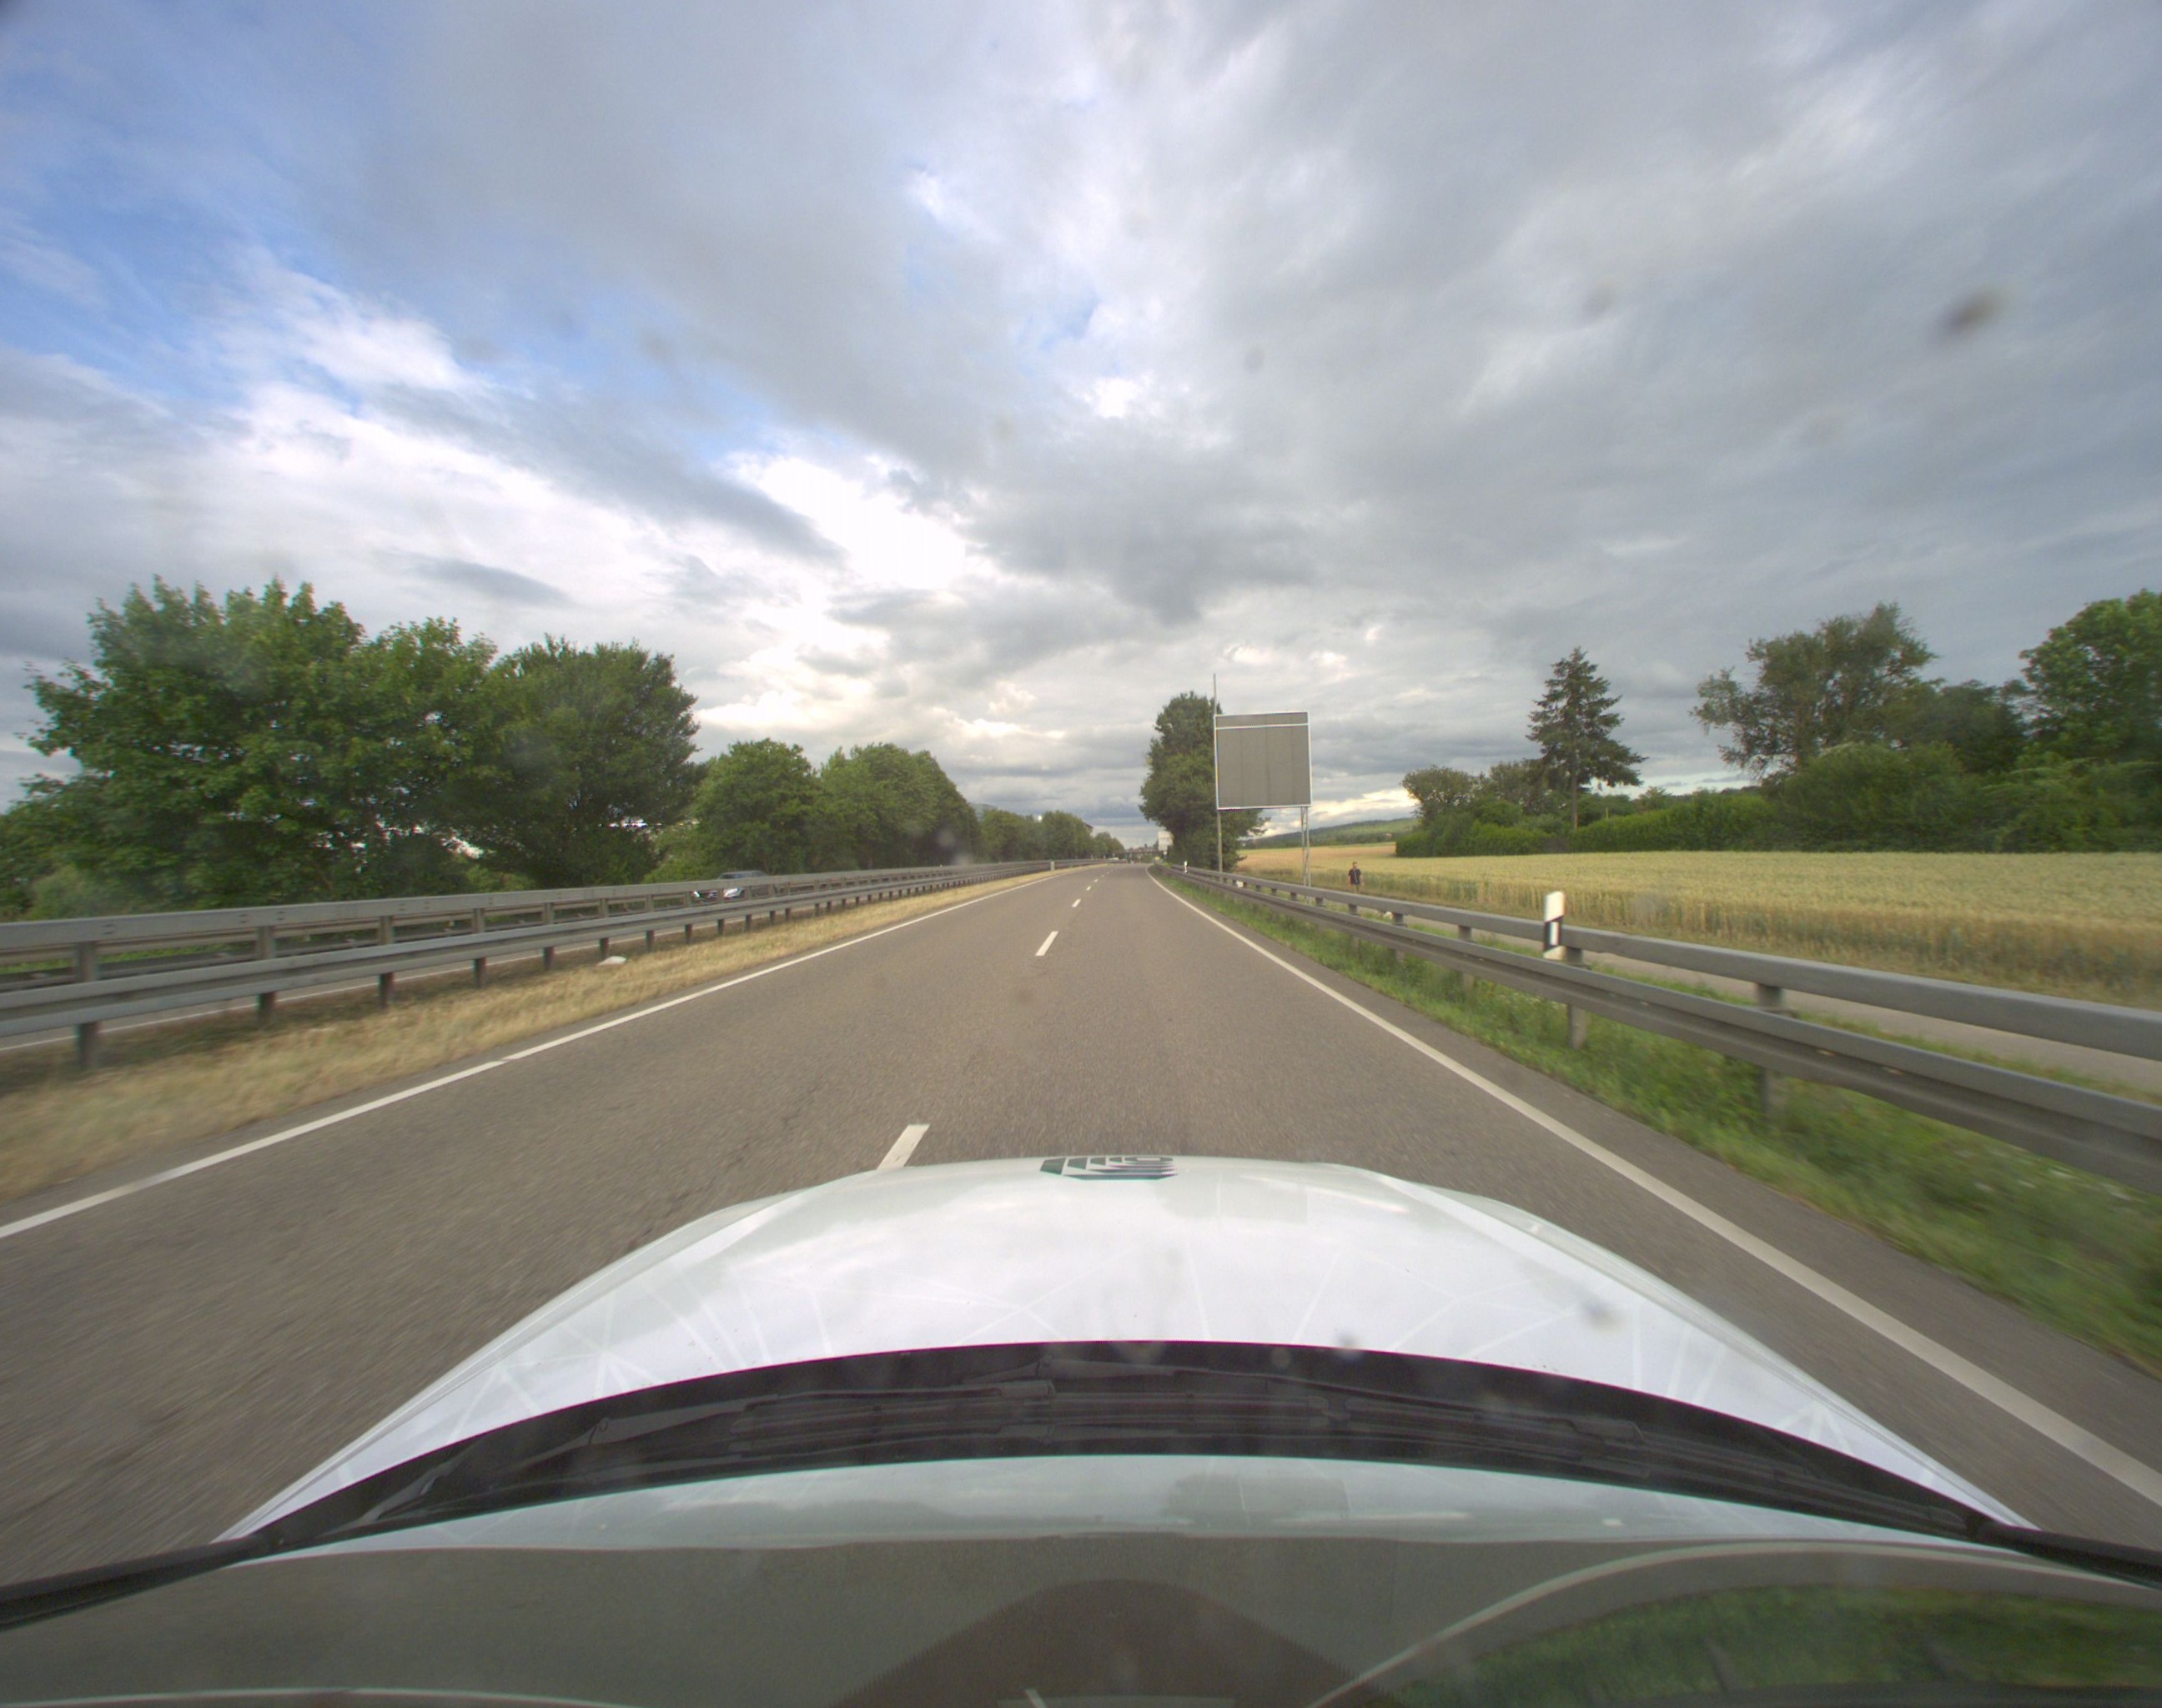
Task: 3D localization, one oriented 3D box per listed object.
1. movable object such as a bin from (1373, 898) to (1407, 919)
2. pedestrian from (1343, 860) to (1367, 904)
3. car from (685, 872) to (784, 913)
[{"bbox_3d":[10.558,1.845,27.849,0.729,0.645,1.236,0,-1,2],"label":"movable object such as a bin"},{"bbox_3d":[11.999,1.213,35.688,0.768,1.868,0.940,0,-1,2],"label":"pedestrian"},{"bbox_3d":[-13.538,1.448,32.145,1.774,1.352,4.578,-2,0,2],"label":"car"}]
